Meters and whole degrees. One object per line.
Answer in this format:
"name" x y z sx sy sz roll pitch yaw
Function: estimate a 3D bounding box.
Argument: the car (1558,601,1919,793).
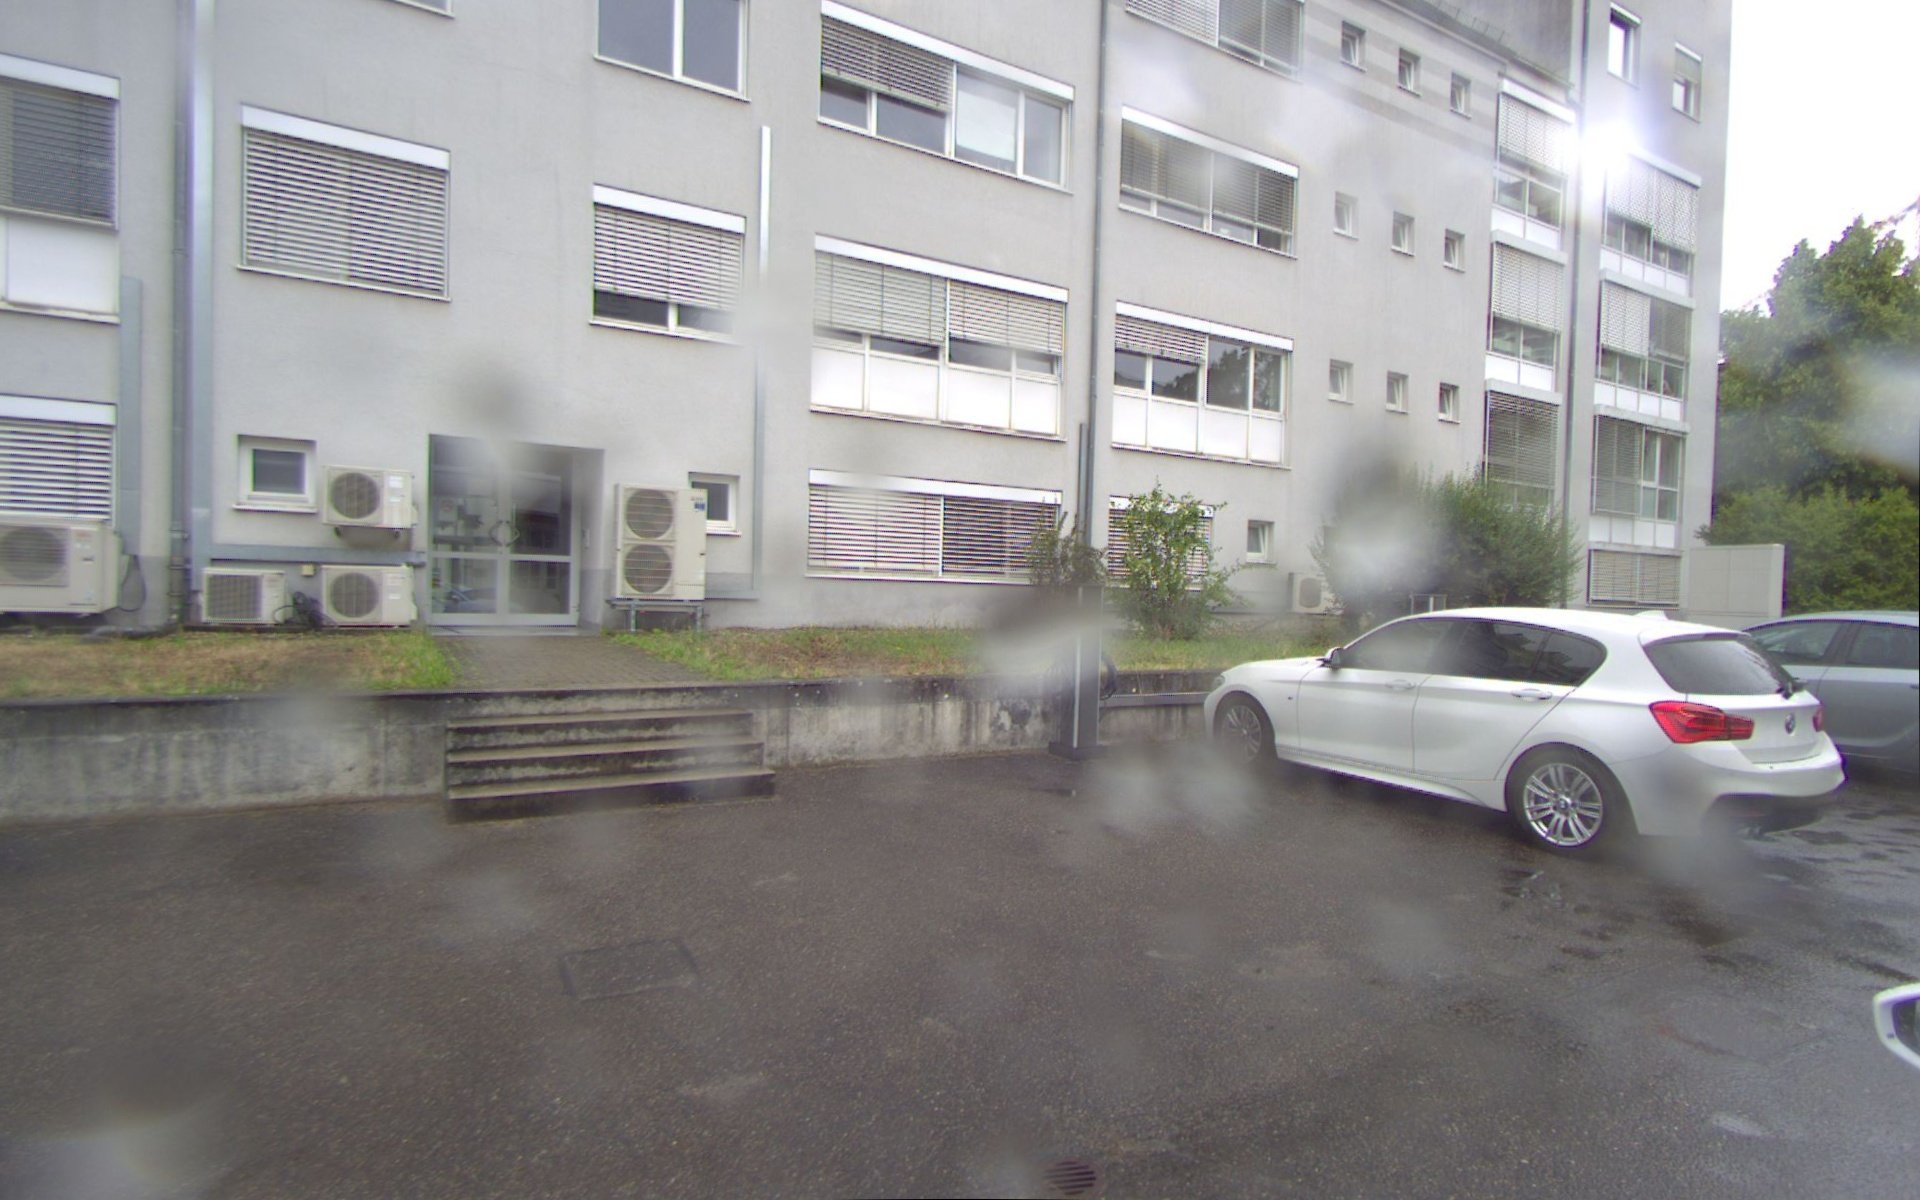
"car" 8.271 0.820 9.504 1.800 1.504 4.147 0 1 -28

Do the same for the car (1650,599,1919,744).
"car" 10.681 0.808 11.531 1.799 1.351 4.149 0 4 -27

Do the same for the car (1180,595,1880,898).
"car" 3.665 0.755 7.319 1.732 1.453 4.121 2 1 -28
